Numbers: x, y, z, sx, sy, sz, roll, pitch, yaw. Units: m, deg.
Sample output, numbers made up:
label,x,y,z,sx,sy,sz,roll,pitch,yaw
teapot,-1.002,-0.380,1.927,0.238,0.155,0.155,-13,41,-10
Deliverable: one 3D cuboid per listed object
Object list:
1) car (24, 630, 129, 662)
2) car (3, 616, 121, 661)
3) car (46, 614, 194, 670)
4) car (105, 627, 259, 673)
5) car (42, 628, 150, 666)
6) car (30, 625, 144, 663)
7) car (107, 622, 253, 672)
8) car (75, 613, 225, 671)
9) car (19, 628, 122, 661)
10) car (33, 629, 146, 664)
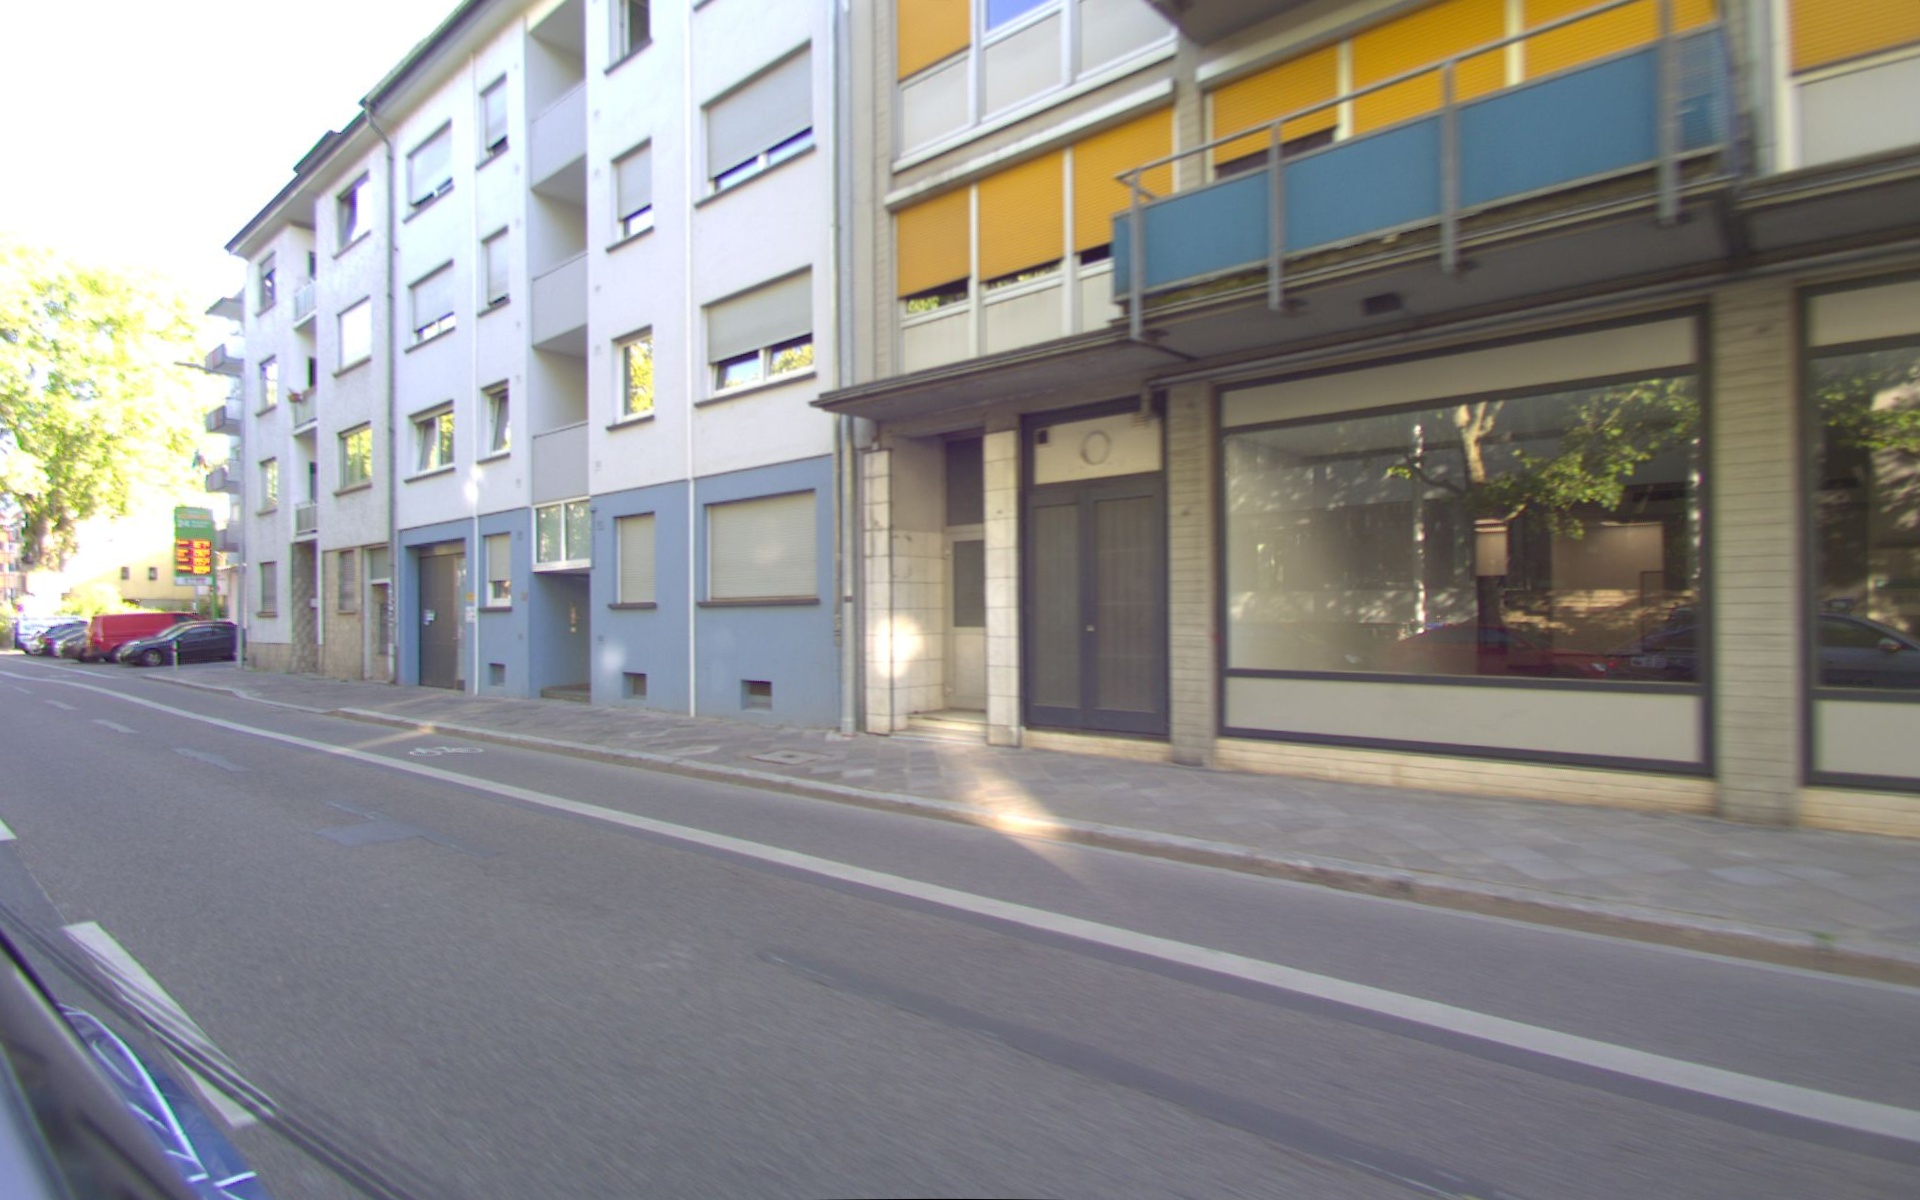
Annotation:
label,x,y,z,sx,sy,sz,roll,pitch,yaw
car,-46.402,2.396,53.185,1.852,1.444,3.945,-2,0,41
car,-51.277,2.159,57.850,2.139,2.233,4.794,-2,0,41
car,-34.981,1.693,42.235,2.056,1.966,4.475,-2,1,42
car,-28.663,1.790,37.368,2.045,1.390,4.184,-1,1,42
car,-40.896,2.188,47.965,1.830,1.524,3.647,-2,1,41
car,-44.452,2.200,51.576,2.027,1.696,4.150,-2,0,41
car,-30.073,1.759,39.104,1.886,1.575,4.129,-2,1,42
car,-32.607,1.649,40.838,2.145,1.966,4.375,-2,1,42
car,-47.966,2.384,54.627,1.852,1.571,3.945,-2,-1,41
car,-42.533,2.248,49.494,1.915,1.466,3.945,-2,0,41
